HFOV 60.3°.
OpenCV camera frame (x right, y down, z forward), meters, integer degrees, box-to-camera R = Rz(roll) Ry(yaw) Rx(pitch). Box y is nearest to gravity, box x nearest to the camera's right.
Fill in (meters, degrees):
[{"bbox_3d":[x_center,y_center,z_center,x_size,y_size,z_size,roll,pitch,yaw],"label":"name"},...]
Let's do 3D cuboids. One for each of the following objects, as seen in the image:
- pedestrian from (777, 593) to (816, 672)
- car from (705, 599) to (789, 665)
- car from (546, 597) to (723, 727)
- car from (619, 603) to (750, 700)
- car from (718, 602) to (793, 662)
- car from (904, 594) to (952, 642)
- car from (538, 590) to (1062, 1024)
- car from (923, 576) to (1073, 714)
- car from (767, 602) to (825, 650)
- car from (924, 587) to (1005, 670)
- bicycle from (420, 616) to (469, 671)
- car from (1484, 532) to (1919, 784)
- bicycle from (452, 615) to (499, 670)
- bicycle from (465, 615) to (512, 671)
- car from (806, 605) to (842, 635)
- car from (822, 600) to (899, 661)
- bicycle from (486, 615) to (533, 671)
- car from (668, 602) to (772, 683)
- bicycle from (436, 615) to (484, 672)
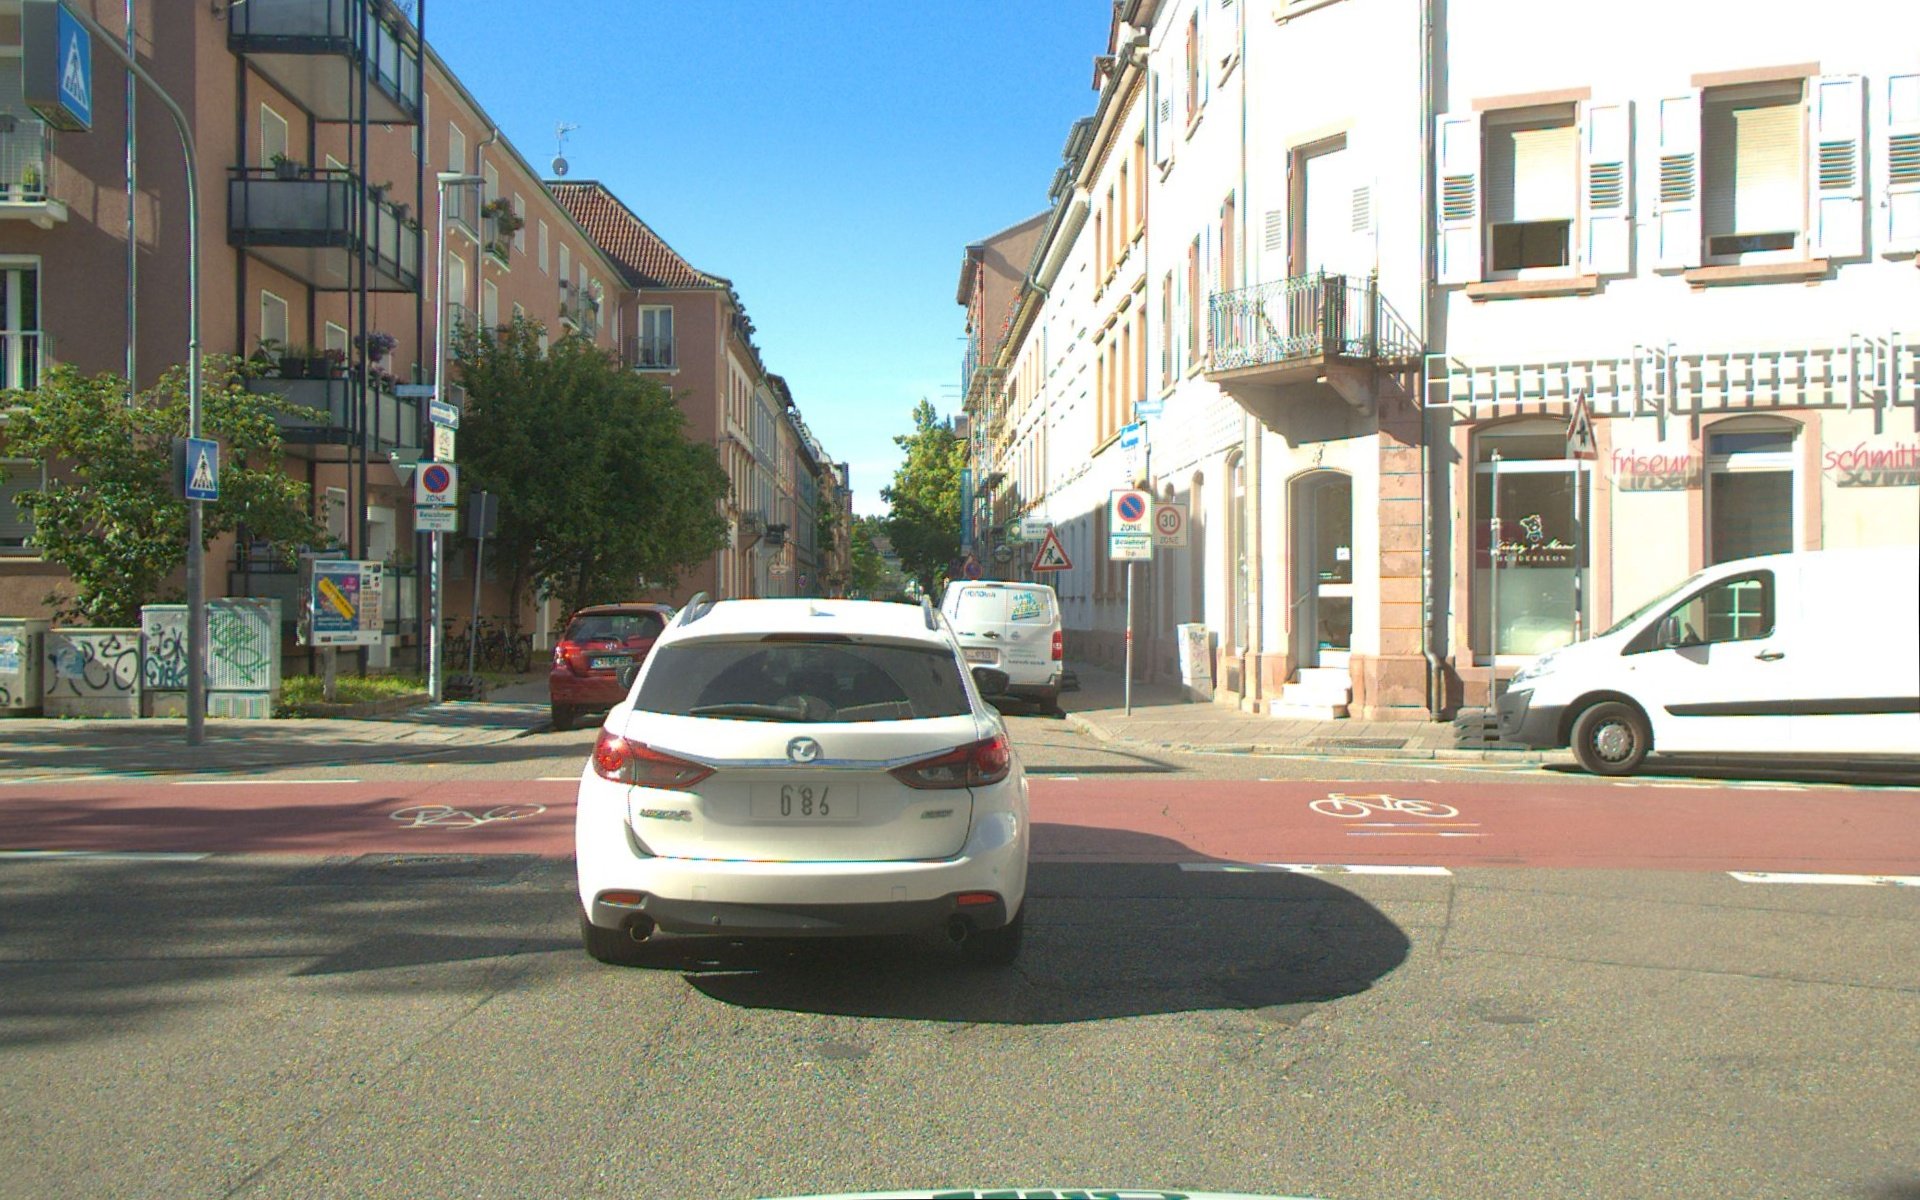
[{"bbox_3d":[-3.494,0.683,35.256,0.720,1.642,0.813,0,-1,-14],"label":"pedestrian"},{"bbox_3d":[-5.101,0.744,40.037,1.620,1.526,3.762,0,0,-1],"label":"car"},{"bbox_3d":[-4.251,0.763,22.122,1.651,1.526,3.805,-2,0,-1],"label":"car"},{"bbox_3d":[-4.614,0.819,28.193,1.620,1.526,4.078,0,0,-1],"label":"car"},{"bbox_3d":[-5.414,0.826,44.169,1.620,1.526,3.762,0,0,-1],"label":"car"},{"bbox_3d":[-1.304,0.704,67.039,1.856,1.892,3.993,0,0,-1],"label":"car"},{"bbox_3d":[-0.588,0.694,7.659,1.794,1.482,3.961,0,0,-1],"label":"car"},{"bbox_3d":[0.482,0.641,25.934,1.857,1.891,5.010,2,0,-4],"label":"car"},{"bbox_3d":[-5.371,0.840,54.556,1.620,1.526,3.762,0,0,-1],"label":"car"},{"bbox_3d":[0.071,0.653,39.863,1.856,1.892,3.993,0,0,-1],"label":"car"},{"bbox_3d":[-10.092,0.848,32.380,1.193,1.053,0.290,0,0,38],"label":"bicycle"},{"bbox_3d":[7.182,0.456,14.278,4.907,1.980,2.050,0,0,23],"label":"car"},{"bbox_3d":[-9.655,0.839,32.959,1.193,1.089,0.252,0,0,38],"label":"bicycle"},{"bbox_3d":[-9.470,0.856,33.208,1.193,1.090,0.252,0,0,38],"label":"bicycle"},{"bbox_3d":[-7.034,1.030,85.878,1.620,1.526,3.762,0,0,-1],"label":"car"},{"bbox_3d":[-2.418,0.721,40.885,1.725,1.435,4.326,0,0,-1],"label":"car"},{"bbox_3d":[-9.073,0.860,33.287,1.196,1.090,0.252,0,0,38],"label":"bicycle"},{"bbox_3d":[-4.759,0.814,33.255,1.620,1.526,3.762,0,0,-1],"label":"car"},{"bbox_3d":[-9.872,0.855,32.660,1.193,1.091,0.265,0,0,38],"label":"bicycle"}]
